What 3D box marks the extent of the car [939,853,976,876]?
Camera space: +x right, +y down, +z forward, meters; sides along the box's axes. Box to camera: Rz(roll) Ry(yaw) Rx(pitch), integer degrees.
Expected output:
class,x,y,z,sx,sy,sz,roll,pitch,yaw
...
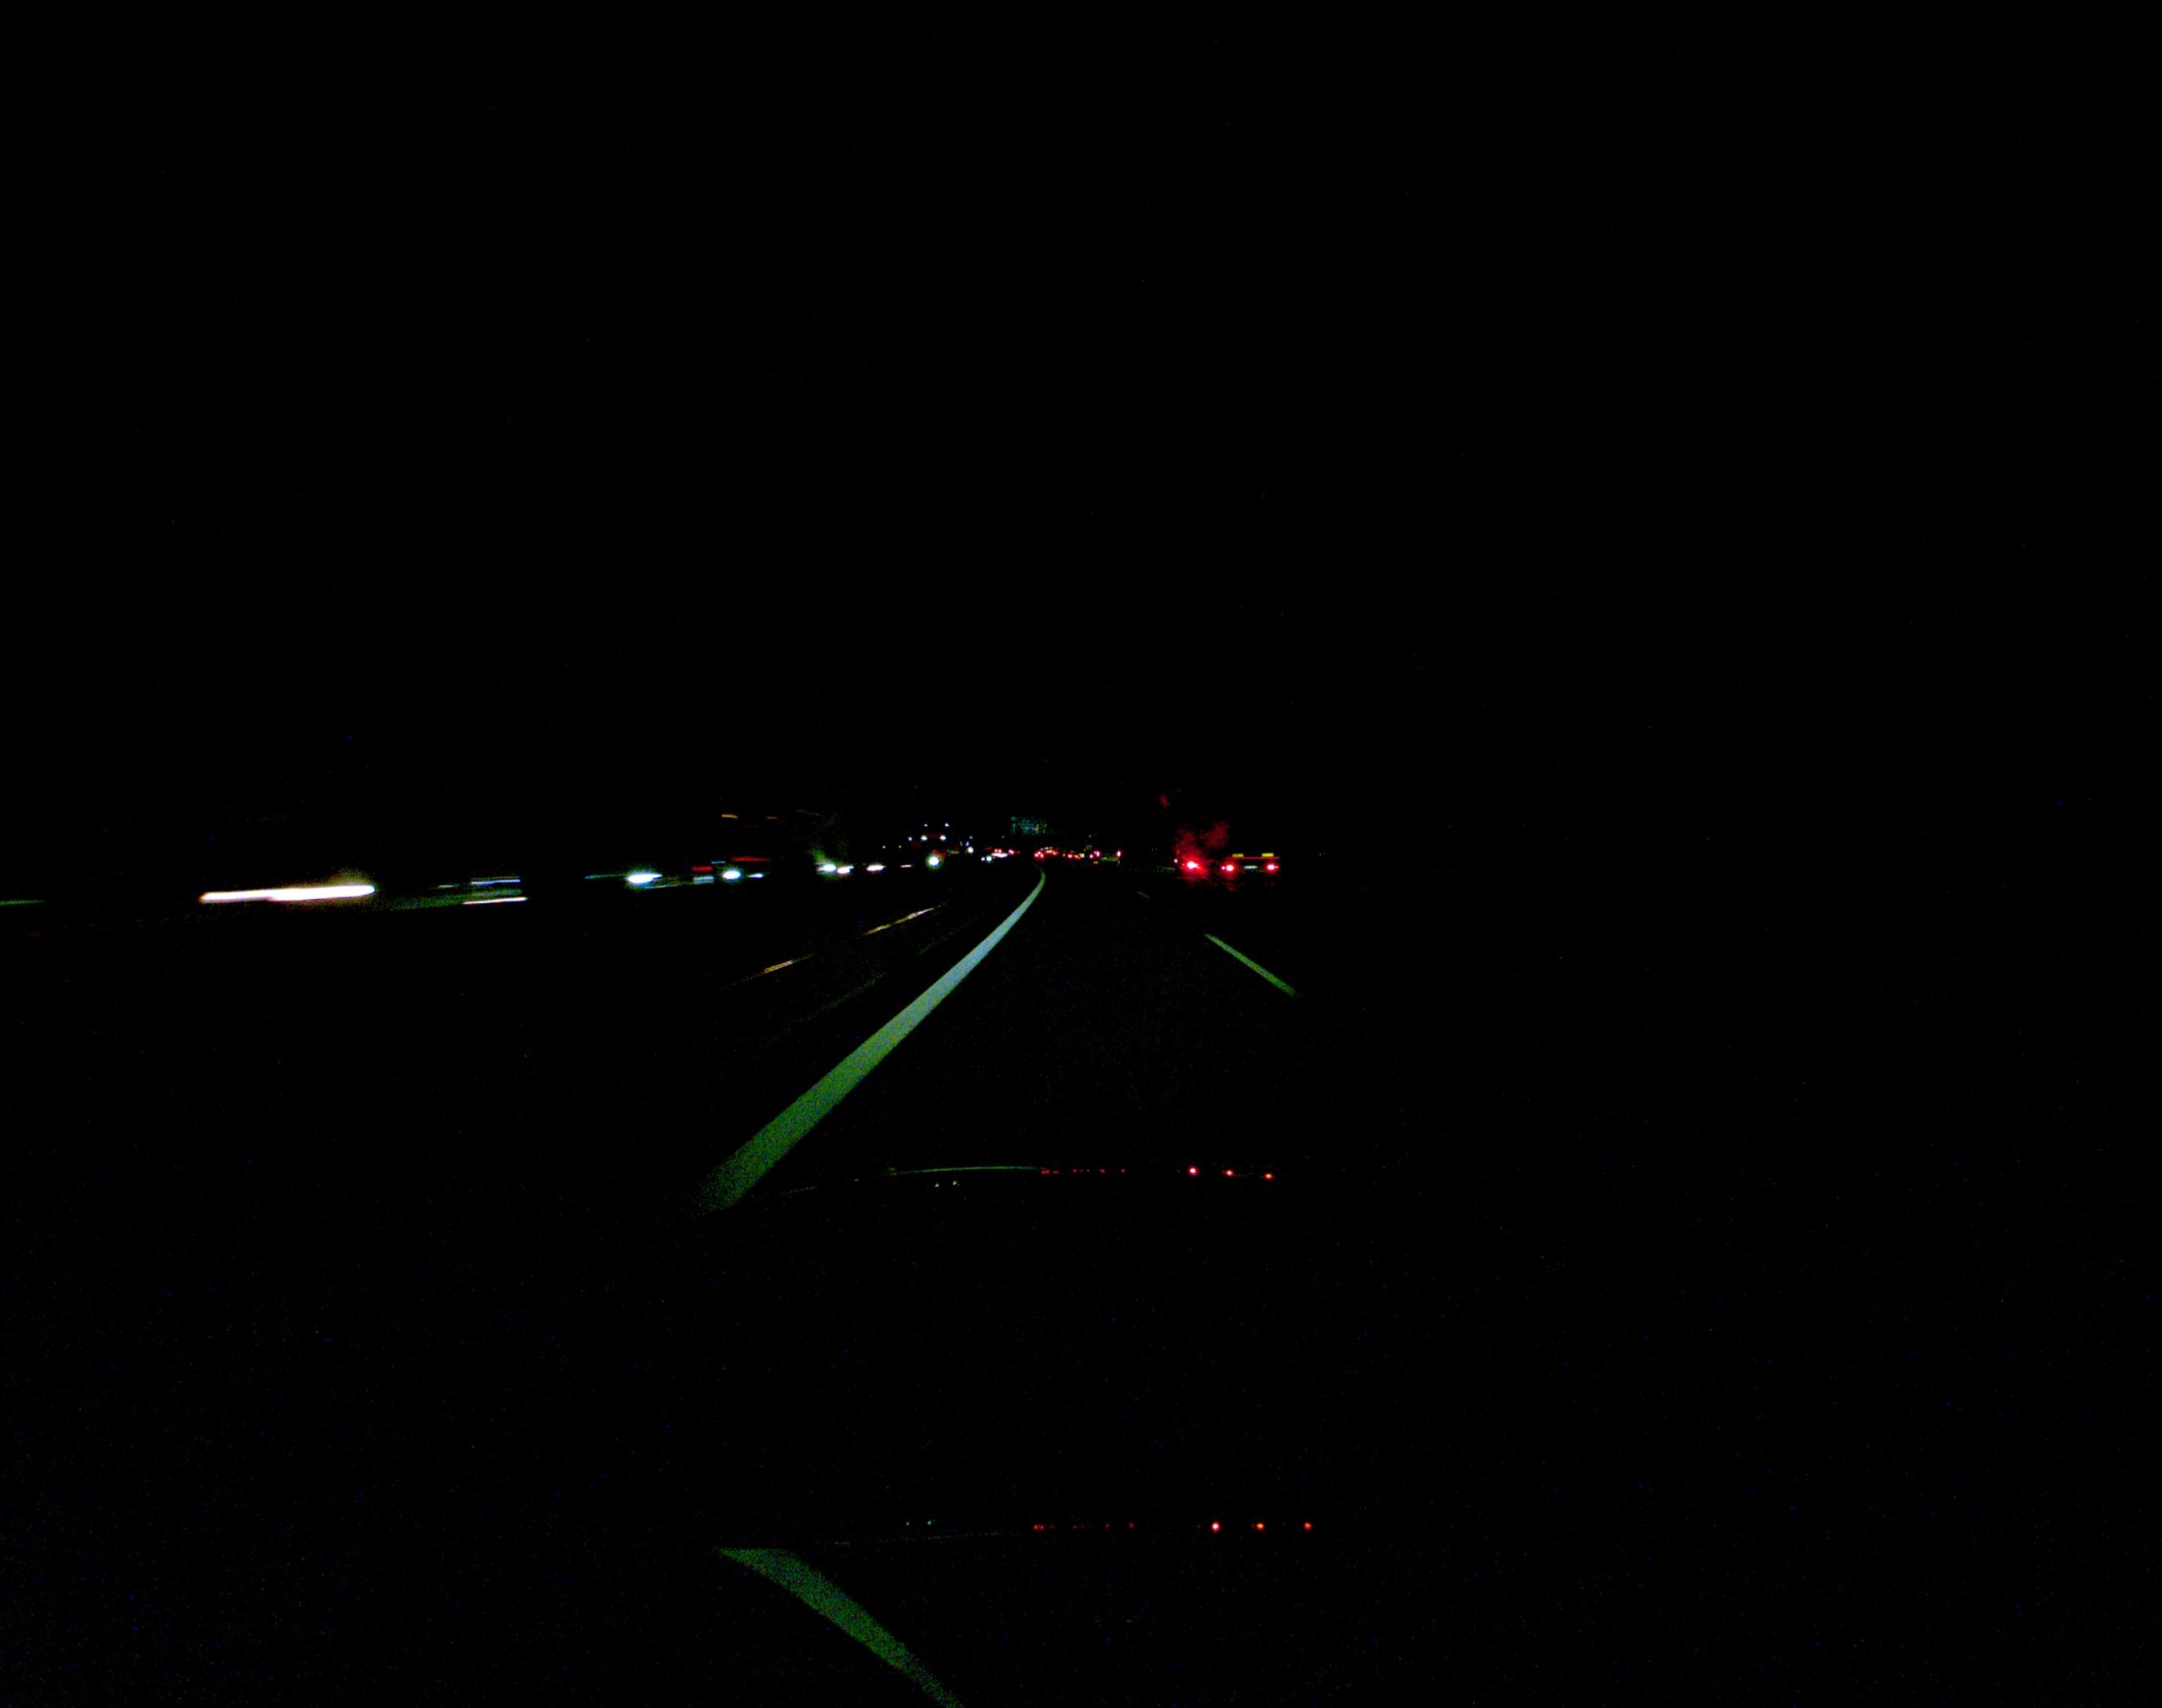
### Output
class,x,y,z,sx,sy,sz,roll,pitch,yaw
car,-8.059,0.686,53.308,1.908,1.443,4.645,0,0,-3

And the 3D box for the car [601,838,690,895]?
class,x,y,z,sx,sy,sz,roll,pitch,yaw
car,-19.646,0.538,36.977,1.991,2.399,4.502,-1,0,-7

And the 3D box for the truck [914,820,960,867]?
class,x,y,z,sx,sy,sz,roll,pitch,yaw
truck,-13.760,-0.929,78.419,3.099,4.098,7.072,3,-2,-1

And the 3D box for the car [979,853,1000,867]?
class,x,y,z,sx,sy,sz,roll,pitch,yaw
car,-10.242,0.666,91.239,1.869,1.426,4.509,1,0,-2

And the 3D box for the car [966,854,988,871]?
class,x,y,z,sx,sy,sz,roll,pitch,yaw
car,-9.241,0.778,72.693,1.700,1.426,4.504,0,0,-5

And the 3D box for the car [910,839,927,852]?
class,x,y,z,sx,sy,sz,roll,pitch,yaw
car,-19.797,-1.030,99.487,1.650,1.477,3.768,-1,0,-5

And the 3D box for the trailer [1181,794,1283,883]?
class,x,y,z,sx,sy,sz,roll,pitch,yaw
trailer,7.689,-0.693,43.777,2.845,4.067,13.199,0,0,-1

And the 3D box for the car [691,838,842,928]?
class,x,y,z,sx,sy,sz,roll,pitch,yaw
car,-8.068,0.711,21.491,1.869,1.922,4.868,-6,-1,1

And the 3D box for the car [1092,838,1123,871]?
class,x,y,z,sx,sy,sz,roll,pitch,yaw
car,2.302,0.090,71.592,2.331,2.640,5.243,1,-2,-2

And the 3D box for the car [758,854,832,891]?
class,x,y,z,sx,sy,sz,roll,pitch,yaw
car,-11.801,0.790,33.844,1.623,1.350,3.998,3,-2,-1

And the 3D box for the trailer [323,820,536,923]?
class,x,y,z,sx,sy,sz,roll,pitch,yaw
trailer,-19.124,0.472,24.315,2.356,2.744,4.990,-1,0,-1

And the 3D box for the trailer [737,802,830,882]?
class,x,y,z,sx,sy,sz,roll,pitch,yaw
trailer,-15.951,-0.610,44.407,2.818,3.917,8.717,-1,0,-7

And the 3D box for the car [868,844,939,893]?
class,x,y,z,sx,sy,sz,roll,pitch,yaw
car,-7.530,0.619,35.079,1.870,1.923,5.601,0,-1,-1

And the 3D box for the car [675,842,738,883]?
class,x,y,z,sx,sy,sz,roll,pitch,yaw
car,-19.849,0.432,43.377,1.711,2.079,4.502,0,0,-6

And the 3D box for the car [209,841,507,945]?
class,x,y,z,sx,sy,sz,roll,pitch,yaw
car,-15.121,0.720,17.547,1.897,1.886,5.020,-1,0,0

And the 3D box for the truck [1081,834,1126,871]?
class,x,y,z,sx,sy,sz,roll,pitch,yaw
truck,2.887,-0.019,114.718,3.909,4.627,20.978,-1,-1,-5

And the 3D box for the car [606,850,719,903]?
class,x,y,z,sx,sy,sz,roll,pitch,yaw
car,-15.486,0.793,30.415,1.987,1.810,4.319,0,0,0

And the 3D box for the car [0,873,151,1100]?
class,x,y,z,sx,sy,sz,roll,pitch,yaw
car,-8.047,0.904,3.871,1.620,1.492,4.868,-1,0,1

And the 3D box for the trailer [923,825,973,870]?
class,x,y,z,sx,sy,sz,roll,pitch,yaw
trailer,-13.826,-0.513,85.645,3.081,4.089,12.443,3,-2,-1

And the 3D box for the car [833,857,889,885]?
class,x,y,z,sx,sy,sz,roll,pitch,yaw
car,-11.883,0.870,44.318,1.943,1.443,4.645,0,0,-3

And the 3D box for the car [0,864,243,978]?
class,x,y,z,sx,sy,sz,roll,pitch,yaw
car,-15.521,0.934,11.721,1.898,1.492,4.865,-1,0,-1

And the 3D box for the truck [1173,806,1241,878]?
class,x,y,z,sx,sy,sz,roll,pitch,yaw
truck,7.565,-0.687,49.919,2.854,4.077,7.506,0,0,-1

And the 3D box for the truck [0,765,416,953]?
class,x,y,z,sx,sy,sz,roll,pitch,yaw
truck,-19.090,0.107,17.901,2.486,3.218,7.911,-1,0,0

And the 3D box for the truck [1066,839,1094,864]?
class,x,y,z,sx,sy,sz,roll,pitch,yaw
truck,-0.344,-0.501,155.291,3.342,4.476,13.871,3,0,-8

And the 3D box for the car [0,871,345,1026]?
class,x,y,z,sx,sy,sz,roll,pitch,yaw
car,-11.513,0.958,9.154,1.896,1.492,4.870,0,-1,2

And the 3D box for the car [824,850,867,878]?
class,x,y,z,sx,sy,sz,roll,pitch,yaw
car,-16.204,0.684,56.259,1.891,1.810,4.742,0,0,-4

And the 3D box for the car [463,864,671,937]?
class,x,y,z,sx,sy,sz,roll,pitch,yaw
car,-11.747,0.987,19.119,1.899,1.492,4.863,0,-1,-2

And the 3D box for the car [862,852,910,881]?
class,x,y,z,sx,sy,sz,roll,pitch,yaw
car,-12.958,0.800,54.325,1.986,1.810,4.749,0,0,1

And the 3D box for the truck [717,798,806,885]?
class,x,y,z,sx,sy,sz,roll,pitch,yaw
truck,-15.322,-0.590,39.443,2.826,3.916,4.922,-1,0,-8
